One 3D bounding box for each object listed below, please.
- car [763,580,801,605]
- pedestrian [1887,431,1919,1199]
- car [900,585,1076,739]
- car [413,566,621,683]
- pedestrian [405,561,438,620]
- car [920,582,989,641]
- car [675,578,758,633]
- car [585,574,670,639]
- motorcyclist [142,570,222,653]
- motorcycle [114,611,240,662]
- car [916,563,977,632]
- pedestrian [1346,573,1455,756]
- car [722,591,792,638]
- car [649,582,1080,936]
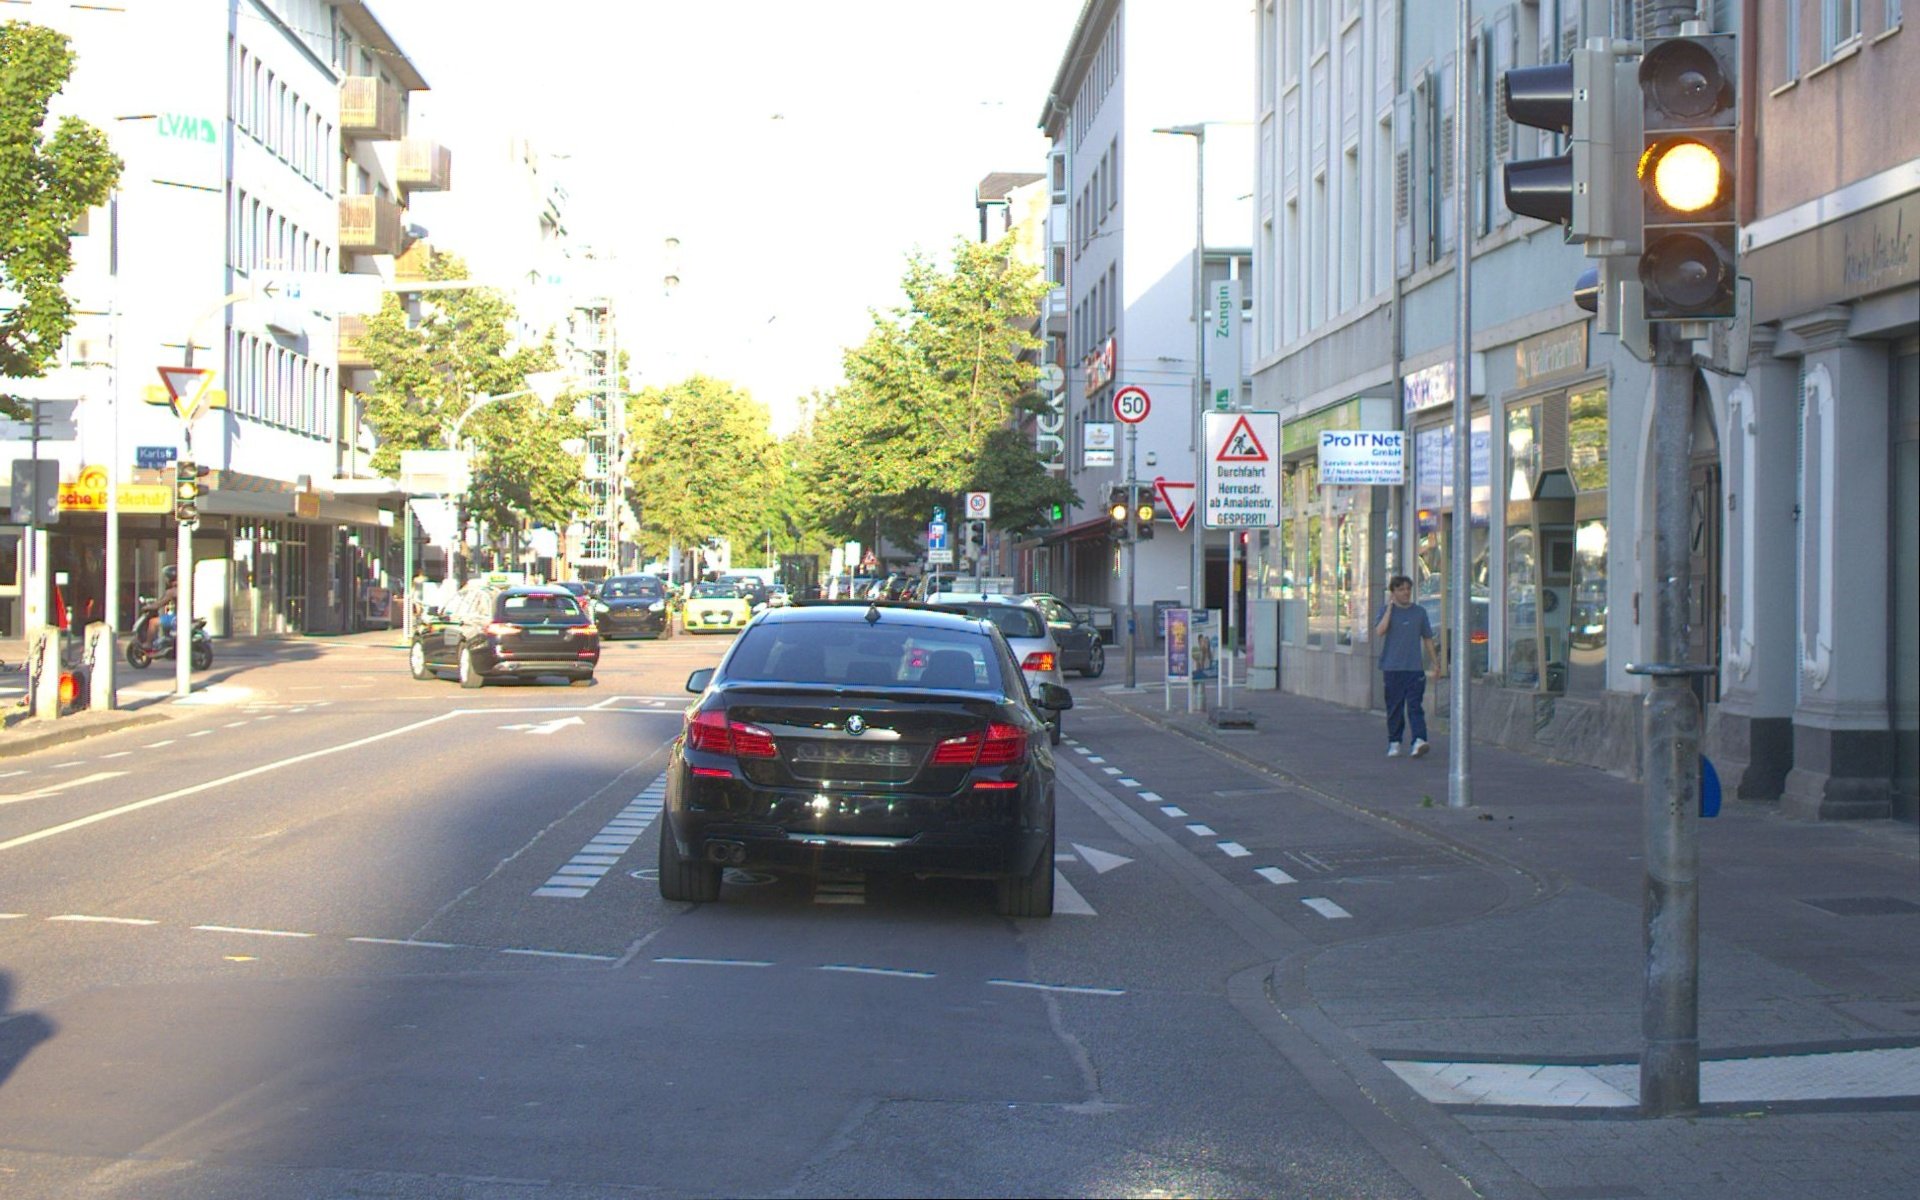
[{"bbox_3d":[-9.758,-0.423,188.332,1.733,1.288,4.001,1,0,-7],"label":"car"},{"bbox_3d":[2.685,0.575,7.569,0.938,1.891,0.826,0,0,-34],"label":"pedestrian"},{"bbox_3d":[0.281,0.647,38.200,1.832,1.570,4.100,1,1,0],"label":"car"},{"bbox_3d":[-6.501,0.331,50.025,1.872,1.590,4.451,1,1,-23],"label":"car"},{"bbox_3d":[-15.520,-0.275,99.045,0.823,1.671,0.871,1,0,-3],"label":"pedestrian"},{"bbox_3d":[-0.165,0.286,89.677,1.625,1.466,3.395,2,0,-2],"label":"car"},{"bbox_3d":[-6.587,0.138,92.753,1.993,1.437,4.001,1,0,-7],"label":"car"},{"bbox_3d":[-8.451,0.147,87.144,1.993,1.612,4.001,1,0,-7],"label":"car"},{"bbox_3d":[-12.620,0.181,55.797,0.993,1.315,0.767,1,0,29],"label":"motorcyclist"},{"bbox_3d":[-12.715,0.590,55.811,2.029,0.778,0.663,1,0,27],"label":"motorcycle"},{"bbox_3d":[-0.399,-0.064,96.078,1.421,1.848,3.053,2,0,-5],"label":"car"},{"bbox_3d":[3.990,0.578,31.204,0.823,1.636,0.871,0,0,-3],"label":"pedestrian"},{"bbox_3d":[-5.883,0.403,99.537,1.733,1.288,4.001,1,0,-7],"label":"car"},{"bbox_3d":[-0.534,0.701,17.584,1.903,1.535,4.450,1,1,-3],"label":"car"}]
